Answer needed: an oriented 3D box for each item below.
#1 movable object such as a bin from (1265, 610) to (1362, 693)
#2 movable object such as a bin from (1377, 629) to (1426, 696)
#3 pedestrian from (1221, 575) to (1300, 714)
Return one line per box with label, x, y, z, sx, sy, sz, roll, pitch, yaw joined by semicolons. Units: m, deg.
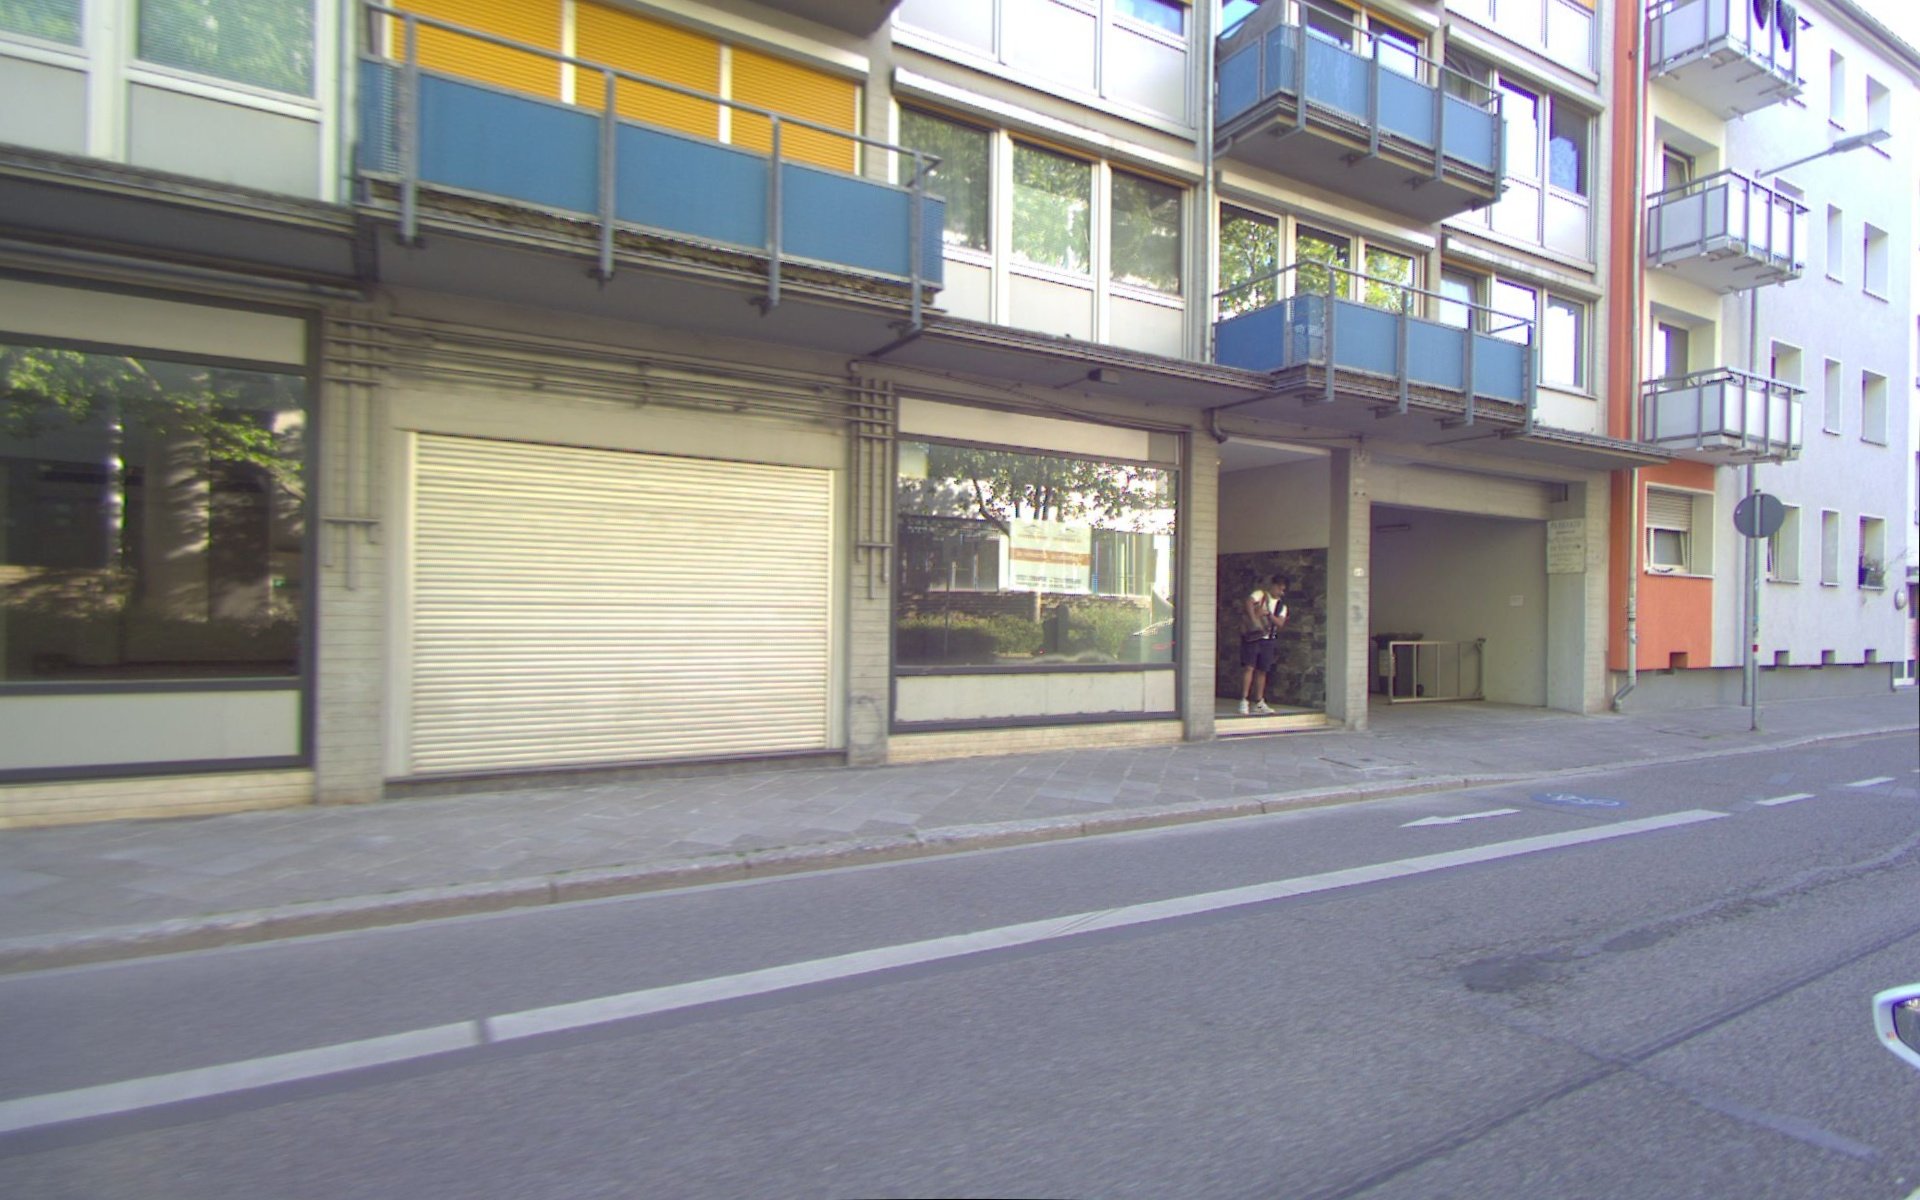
movable object such as a bin;6.487;0.918;18.475;1.067;1.433;1.312;1;0;-30
movable object such as a bin;7.516;1.056;17.099;0.646;1.102;0.487;1;0;-30
pedestrian;3.569;0.515;11.924;0.747;1.600;0.511;1;0;-30
